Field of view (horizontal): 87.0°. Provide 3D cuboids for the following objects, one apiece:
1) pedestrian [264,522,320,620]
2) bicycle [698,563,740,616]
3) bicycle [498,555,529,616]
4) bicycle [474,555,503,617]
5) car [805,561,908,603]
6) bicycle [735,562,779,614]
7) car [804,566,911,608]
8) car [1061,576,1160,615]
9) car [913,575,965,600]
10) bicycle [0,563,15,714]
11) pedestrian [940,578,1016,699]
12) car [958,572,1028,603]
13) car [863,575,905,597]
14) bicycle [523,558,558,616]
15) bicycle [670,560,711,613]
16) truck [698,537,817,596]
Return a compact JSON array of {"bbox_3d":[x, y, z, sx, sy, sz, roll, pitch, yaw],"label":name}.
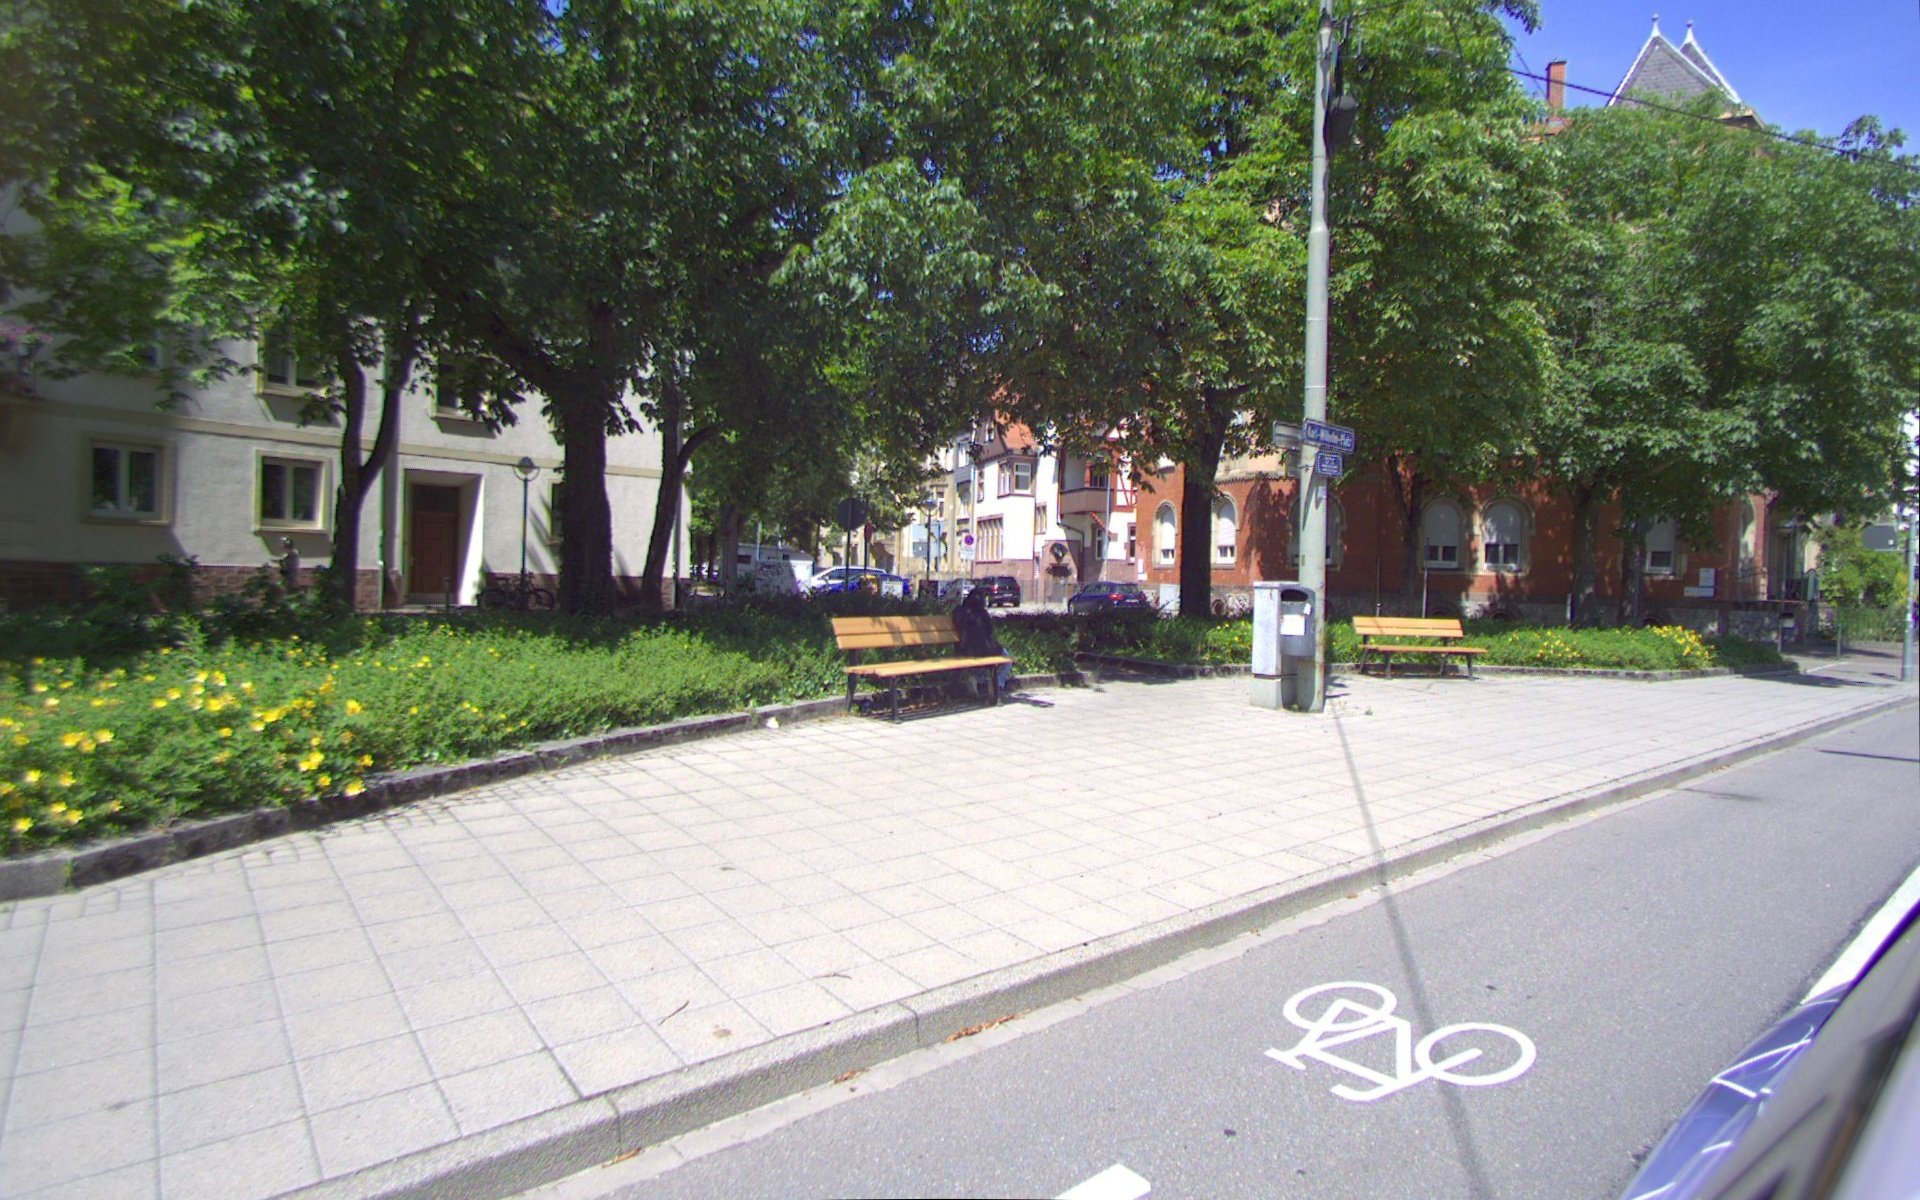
[{"bbox_3d":[-14.214,-0.607,21.537,0.803,2.039,0.763,1,1,36],"label":"pedestrian"},{"bbox_3d":[-6.311,-0.287,26.460,0.536,1.316,2.162,0,1,-28],"label":"bicycle"},{"bbox_3d":[-10.476,-0.348,23.717,0.505,1.364,2.247,0,1,-28],"label":"bicycle"},{"bbox_3d":[-10.962,-0.331,23.496,0.505,1.361,2.332,0,1,-28],"label":"bicycle"},{"bbox_3d":[-4.573,-0.778,44.803,4.176,1.673,1.731,2,0,-21],"label":"car"},{"bbox_3d":[-5.425,-0.335,26.921,0.536,1.316,2.162,0,1,-28],"label":"bicycle"},{"bbox_3d":[-4.022,-0.505,39.665,3.807,1.447,1.731,2,0,-21],"label":"car"},{"bbox_3d":[5.996,-0.212,40.960,1.865,1.459,4.769,0,1,-20],"label":"car"},{"bbox_3d":[-1.386,-0.821,63.885,1.865,1.482,4.626,0,1,-20],"label":"car"},{"bbox_3d":[-10.082,0.396,9.251,0.584,1.504,2.160,1,1,13],"label":"bicycle"},{"bbox_3d":[0.169,0.362,9.802,0.469,1.105,0.511,2,2,-34],"label":"pedestrian"},{"bbox_3d":[1.689,-0.689,54.263,1.946,1.551,5.502,0,1,-19],"label":"car"},{"bbox_3d":[-5.595,-1.021,74.037,1.865,1.575,4.411,0,1,-20],"label":"car"},{"bbox_3d":[-9.853,-0.316,23.729,0.536,1.316,2.162,0,1,-28],"label":"bicycle"},{"bbox_3d":[-7.016,-0.363,26.261,0.536,1.316,2.162,0,1,-28],"label":"bicycle"},{"bbox_3d":[-12.064,-1.959,60.438,6.685,3.193,1.939,2,0,-19],"label":"truck"}]
